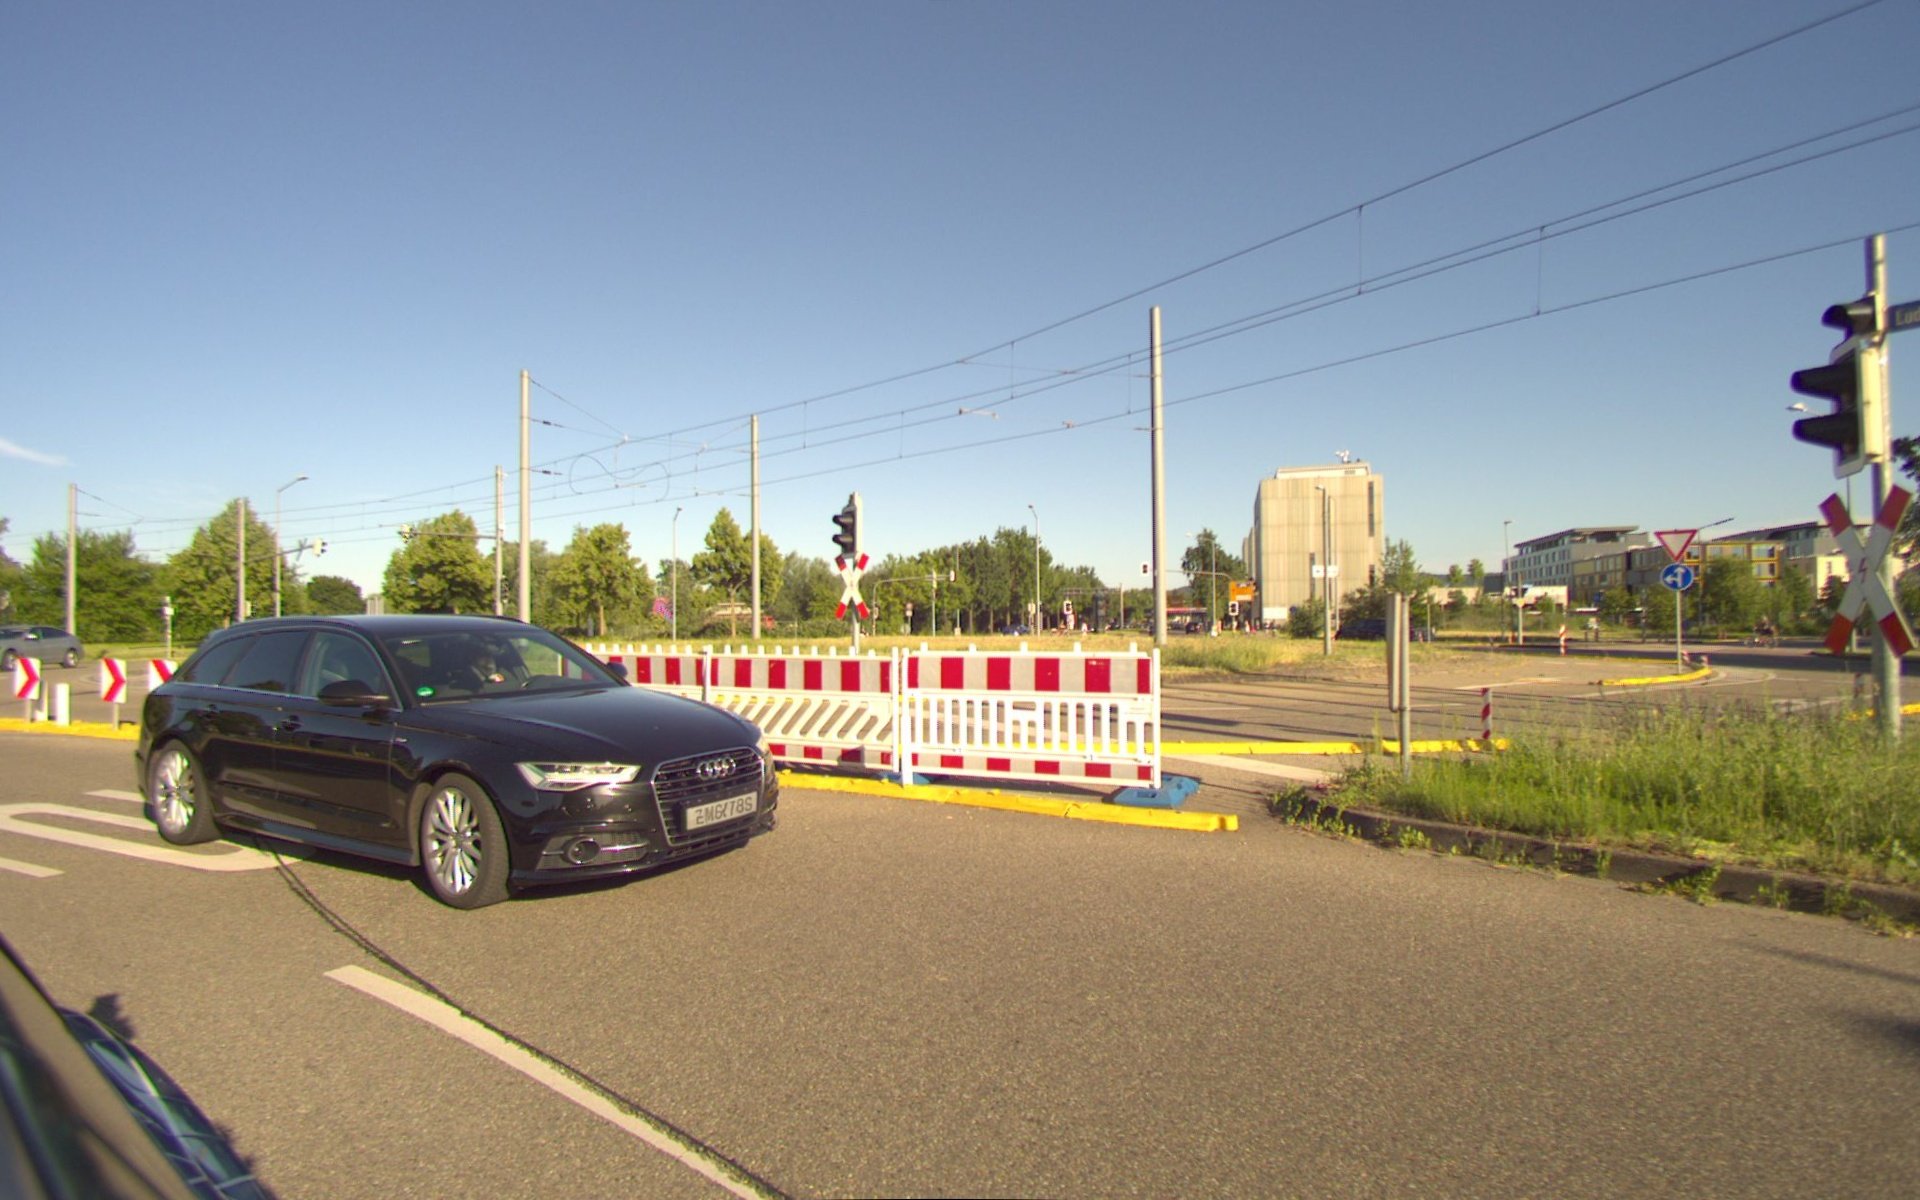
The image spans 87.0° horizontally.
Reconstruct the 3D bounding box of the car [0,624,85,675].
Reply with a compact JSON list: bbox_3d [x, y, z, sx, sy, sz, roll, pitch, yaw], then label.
[{"bbox_3d":[-31.197,1.604,33.034,1.821,1.581,4.536,-1,-1,-8],"label":"car"}]

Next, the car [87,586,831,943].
[{"bbox_3d":[-3.191,0.728,6.231,4.579,1.538,1.773,-1,0,28],"label":"car"}]

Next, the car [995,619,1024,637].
[{"bbox_3d":[4.428,2.452,89.763,1.785,1.439,3.993,-1,0,14],"label":"car"}]
